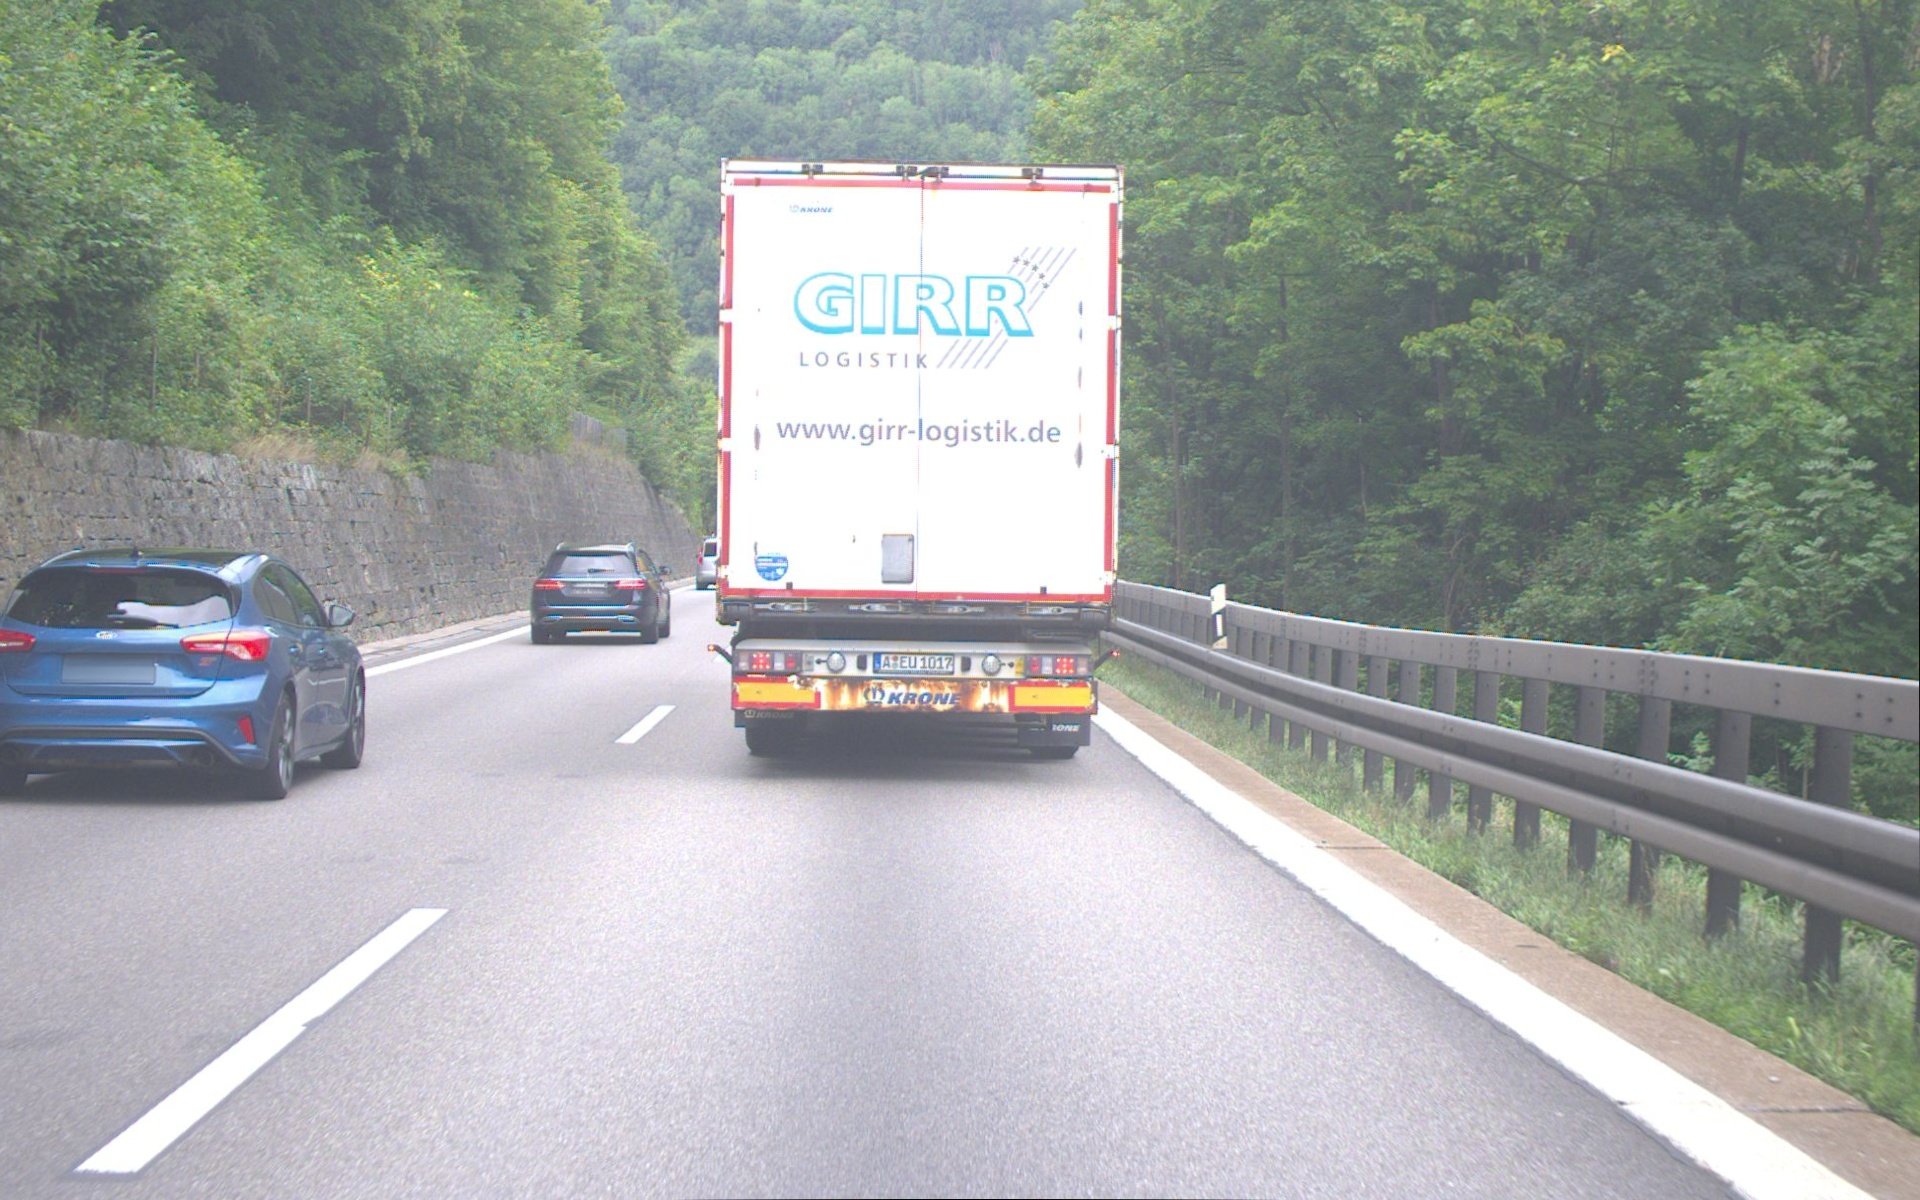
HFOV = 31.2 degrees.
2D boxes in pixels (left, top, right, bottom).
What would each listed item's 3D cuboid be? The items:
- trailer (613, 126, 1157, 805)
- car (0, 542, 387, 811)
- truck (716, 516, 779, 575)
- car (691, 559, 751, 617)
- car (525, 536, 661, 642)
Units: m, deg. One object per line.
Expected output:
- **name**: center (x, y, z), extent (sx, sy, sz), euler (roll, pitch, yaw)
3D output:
- **trailer**: center (-0.680, -0.951, 26.222), extent (3.133, 4.029, 9.441), euler (4, 1, -3)
- **car**: center (-4.758, 0.392, 21.216), extent (1.836, 1.464, 4.556), euler (1, 1, -2)
- **truck**: center (-8.774, -2.264, 142.442), extent (2.349, 2.266, 6.850), euler (3, 1, -2)
- **car**: center (-7.450, -0.404, 107.477), extent (1.634, 1.720, 4.345), euler (2, 1, -1)
- **car**: center (-5.442, -0.200, 51.460), extent (1.760, 1.458, 5.123), euler (1, 1, -3)
